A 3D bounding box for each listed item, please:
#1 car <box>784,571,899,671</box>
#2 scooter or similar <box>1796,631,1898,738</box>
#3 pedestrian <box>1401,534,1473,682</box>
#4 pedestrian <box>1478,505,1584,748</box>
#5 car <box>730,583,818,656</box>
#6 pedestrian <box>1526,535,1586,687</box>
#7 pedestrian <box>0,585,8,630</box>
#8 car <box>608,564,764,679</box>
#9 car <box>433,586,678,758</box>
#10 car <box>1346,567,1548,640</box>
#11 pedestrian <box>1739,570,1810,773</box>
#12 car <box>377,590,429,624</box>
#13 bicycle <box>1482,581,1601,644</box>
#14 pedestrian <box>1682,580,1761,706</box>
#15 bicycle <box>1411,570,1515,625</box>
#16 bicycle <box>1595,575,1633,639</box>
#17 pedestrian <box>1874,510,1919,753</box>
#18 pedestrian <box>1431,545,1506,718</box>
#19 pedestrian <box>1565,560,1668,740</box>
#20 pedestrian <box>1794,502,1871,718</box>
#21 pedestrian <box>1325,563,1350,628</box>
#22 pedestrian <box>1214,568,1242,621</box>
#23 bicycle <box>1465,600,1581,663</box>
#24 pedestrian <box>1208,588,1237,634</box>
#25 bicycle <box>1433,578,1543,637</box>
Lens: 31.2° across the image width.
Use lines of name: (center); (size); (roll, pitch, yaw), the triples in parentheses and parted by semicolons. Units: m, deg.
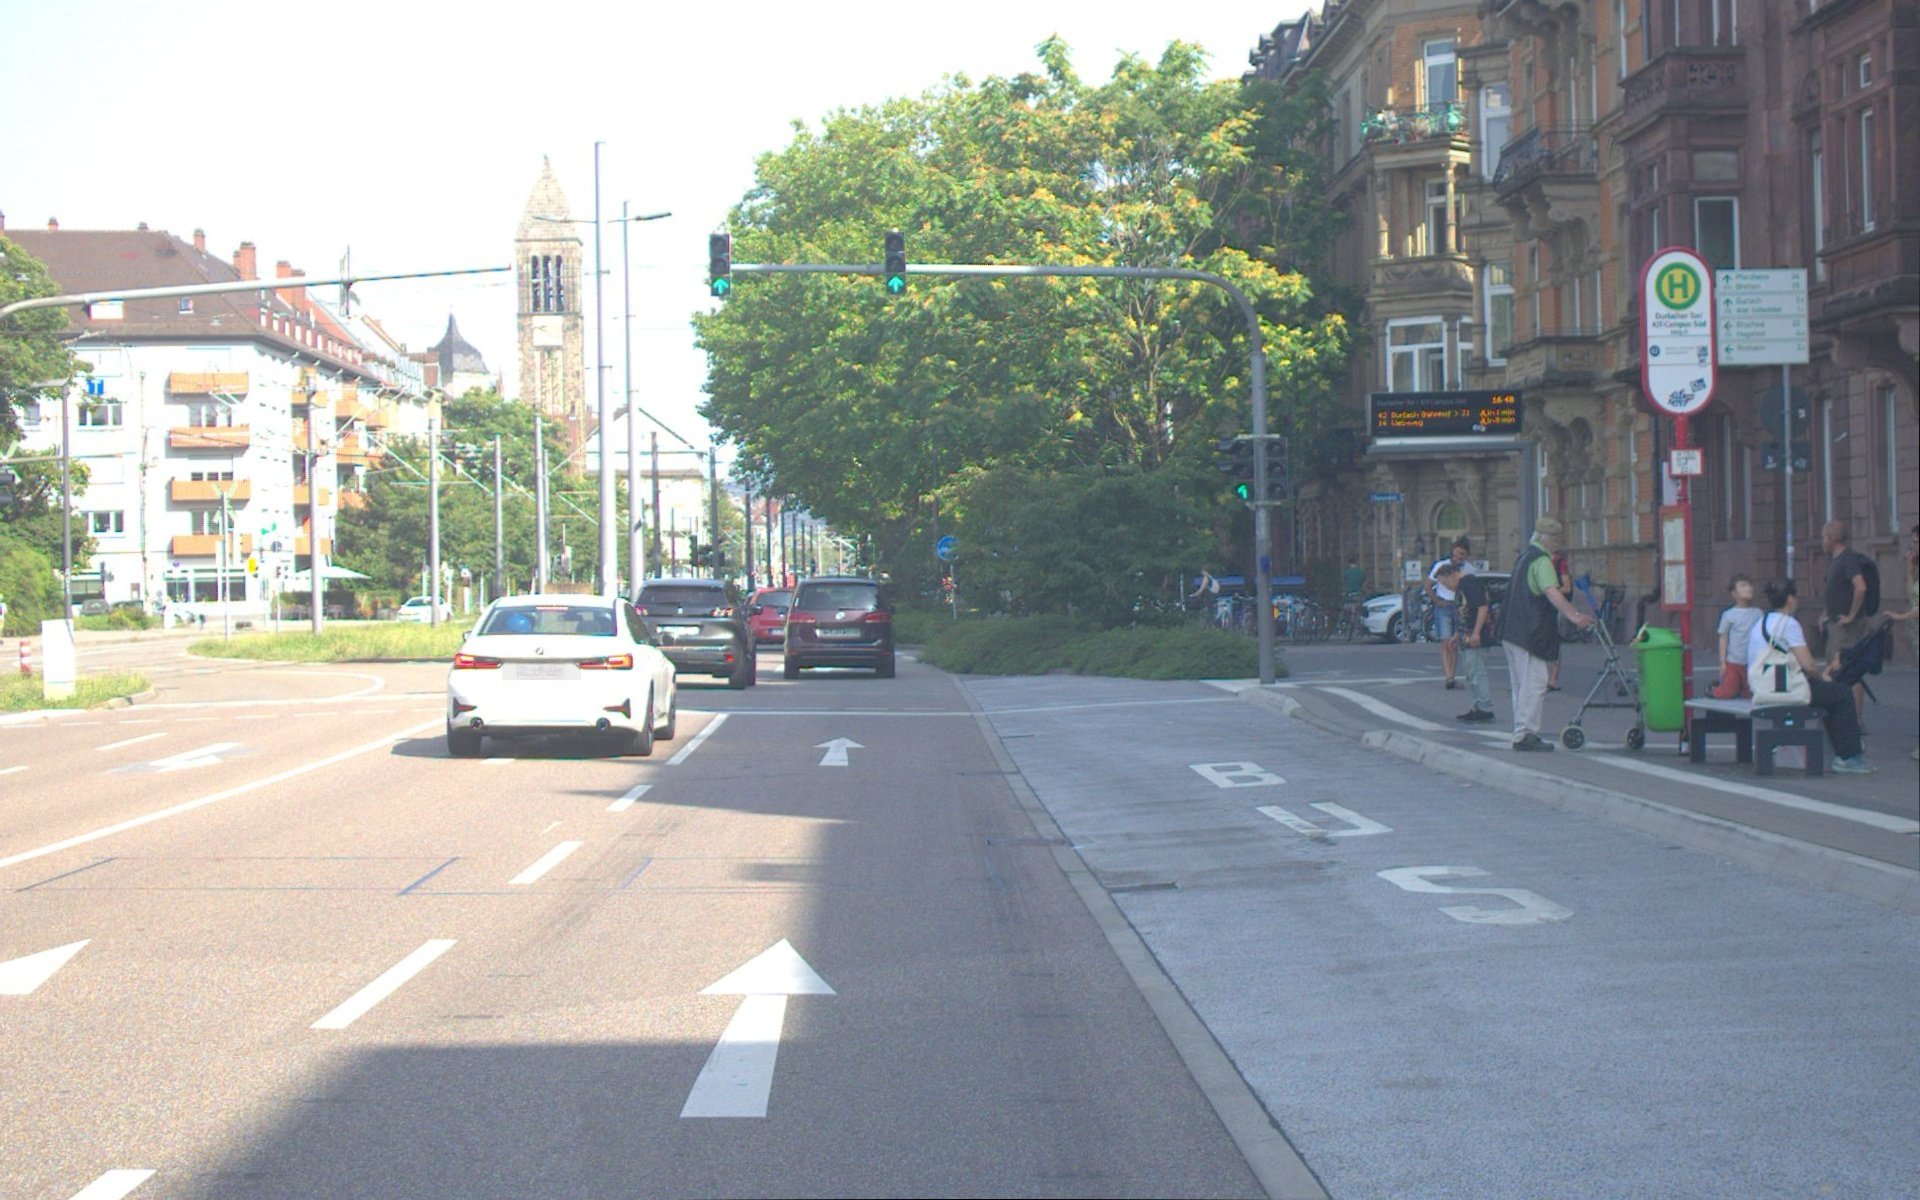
car: (-1.963, 0.324, 58.128); (1.831, 1.615, 4.357); (0, 1, -1)
scooter or similar: (6.359, 0.603, 24.664); (0.565, 0.739, 0.514); (-1, 0, -4)
pedestrian: (5.437, 0.084, 39.216); (0.690, 1.658, 0.619); (-1, 0, 0)
pedestrian: (4.130, 0.185, 24.904); (0.565, 1.723, 0.745); (-1, 0, -4)
car: (-4.264, 0.426, 79.302); (1.831, 1.615, 4.357); (0, 1, -1)
pedestrian: (6.734, 0.120, 38.871); (0.481, 1.696, 0.703); (-1, 0, -4)
pedestrian: (-32.658, 0.252, 117.246); (0.304, 1.513, 0.341); (-1, 0, -5)
car: (-3.994, 0.280, 50.743); (1.993, 1.615, 4.357); (0, 1, -1)
car: (-3.712, 0.614, 32.273); (1.809, 1.422, 4.775); (1, 1, -1)
car: (11.120, 0.064, 78.671); (4.179, 1.558, 2.000); (-1, 0, -5)
pedestrian: (5.161, 0.445, 21.793); (0.275, 1.270, 0.448); (-1, 0, -8)
car: (-26.470, 0.322, 163.447); (1.993, 1.495, 4.000); (-1, 1, -3)
bicycle: (10.035, 0.214, 59.356); (1.927, 1.044, 0.500); (-1, 0, -6)
pedestrian: (5.056, 0.277, 22.849); (0.303, 0.817, 0.604); (-1, 0, -8)
bicycle: (9.850, -0.053, 67.346); (1.927, 1.044, 0.527); (-1, 0, -6)
bicycle: (10.918, 0.105, 57.425); (0.416, 1.044, 1.669); (-1, 0, 4)
pedestrian: (6.955, 0.216, 24.664); (0.565, 1.723, 0.617); (-1, 0, -4)
pedestrian: (4.801, 0.291, 32.498); (0.528, 1.606, 0.703); (-1, 0, -4)
pedestrian: (4.741, 0.354, 24.833); (0.565, 1.273, 0.597); (-1, 0, -5)
pedestrian: (7.086, 0.075, 27.938); (0.341, 1.727, 0.806); (-1, 0, -4)
pedestrian: (8.896, -0.110, 80.984); (0.443, 1.501, 0.487); (-1, 0, -6)
pedestrian: (6.465, -0.133, 82.895); (0.597, 1.244, 0.506); (-1, 0, -1)
bicycle: (9.839, 0.544, 60.094); (1.927, 1.044, 0.500); (-1, 0, -6)
pedestrian: (6.144, 0.262, 80.386); (0.443, 1.067, 0.487); (-2, 0, -31)
bicycle: (9.888, 0.135, 64.385); (1.927, 1.044, 0.527); (-1, 0, -6)
